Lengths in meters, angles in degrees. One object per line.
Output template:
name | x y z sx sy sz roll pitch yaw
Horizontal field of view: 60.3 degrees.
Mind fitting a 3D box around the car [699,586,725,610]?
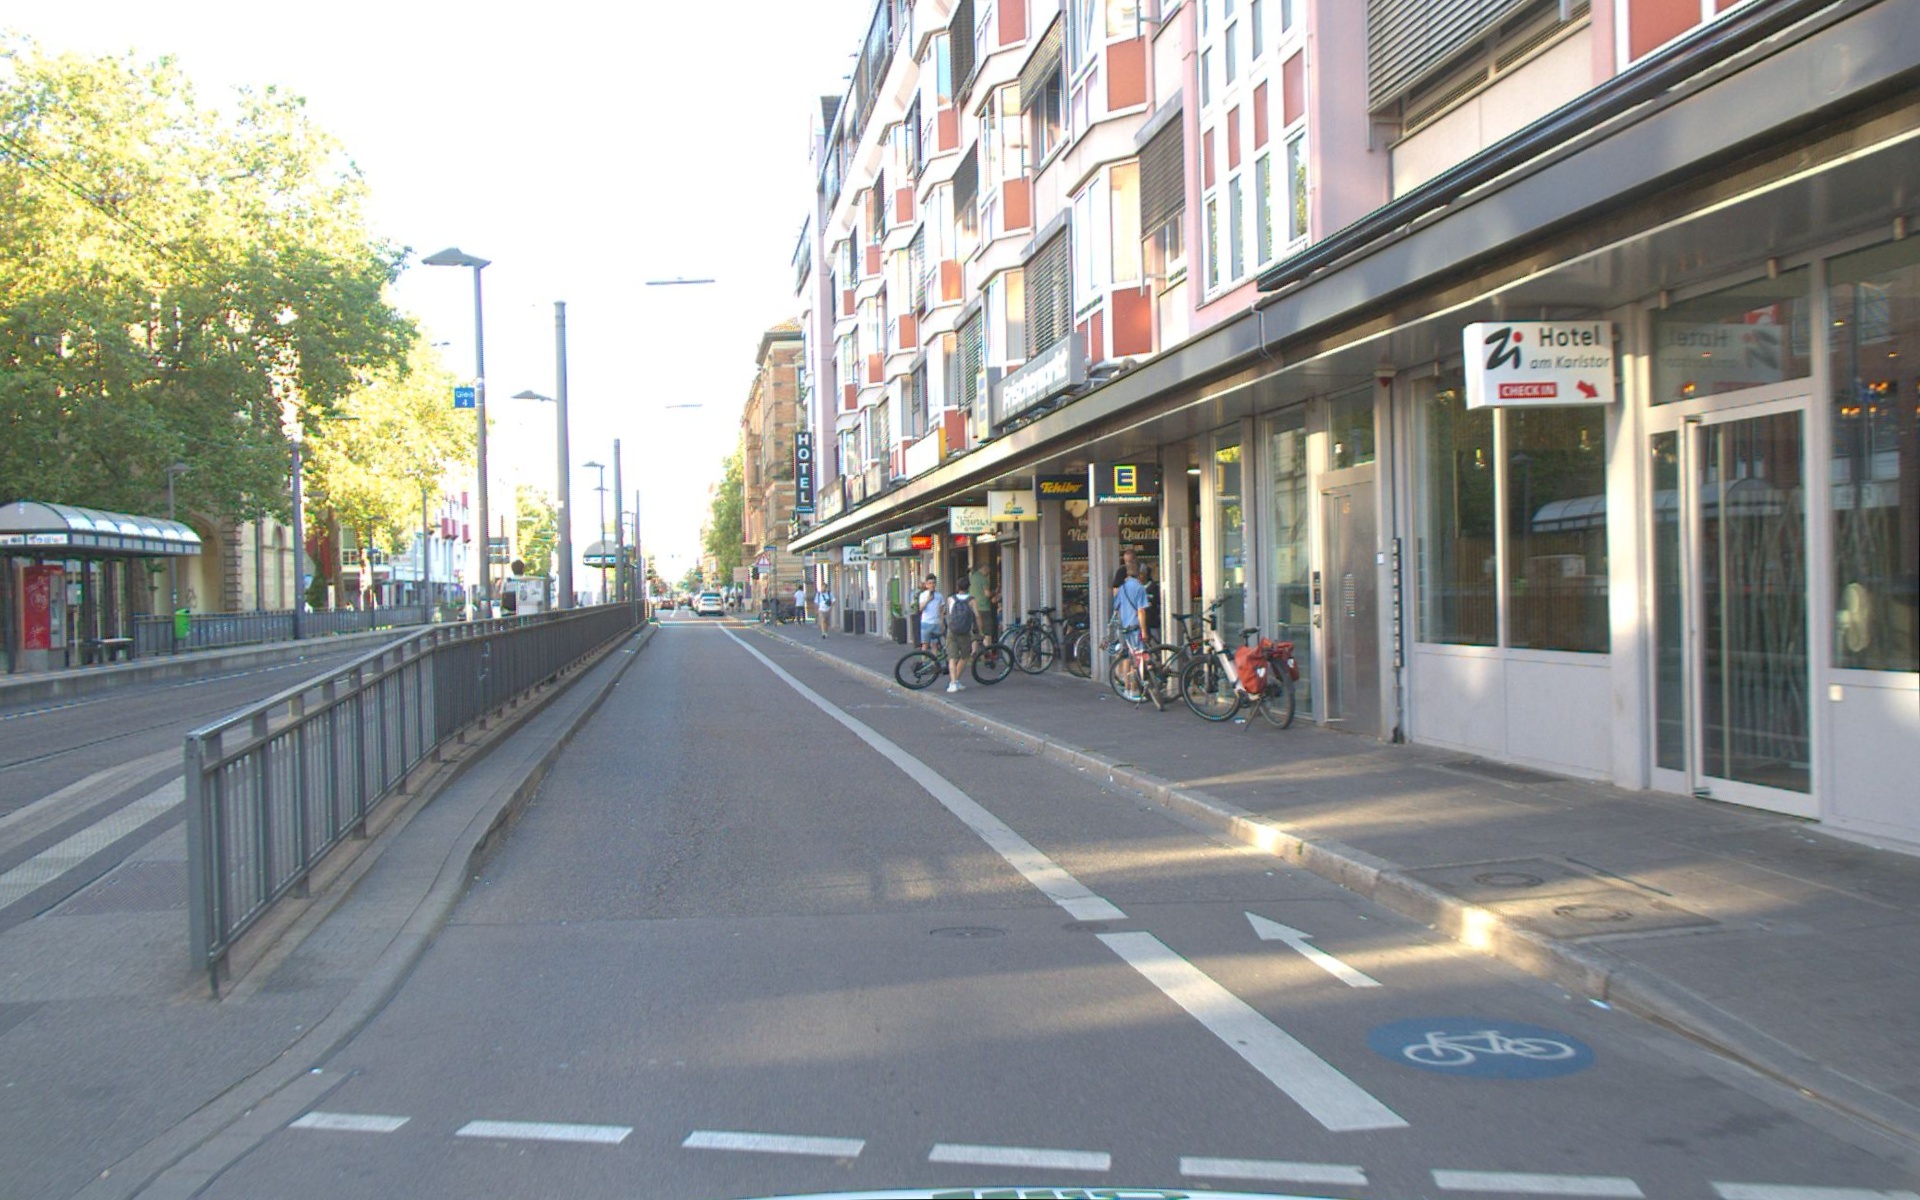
car | -19.160 -0.153 127.633 1.930 1.802 4.865 0 0 -9

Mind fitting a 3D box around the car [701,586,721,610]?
car | -22.590 -0.155 150.252 1.673 2.157 3.700 -1 -1 -7

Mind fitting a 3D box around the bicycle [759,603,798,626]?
bicycle | -8.777 0.693 79.929 1.802 1.072 0.715 -1 0 -13

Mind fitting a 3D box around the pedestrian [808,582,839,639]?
pedestrian | -4.359 0.325 52.684 0.783 1.752 1.059 -4 0 -9

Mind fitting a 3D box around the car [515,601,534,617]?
car | -47.705 0.975 181.206 1.837 1.628 4.241 -1 0 -12

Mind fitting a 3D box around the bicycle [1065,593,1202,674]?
bicycle | 2.571 0.484 24.502 1.891 1.078 0.574 -3 0 -13

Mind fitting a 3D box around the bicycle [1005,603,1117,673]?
bicycle | 1.624 0.613 26.790 1.697 0.990 0.505 -4 0 -5

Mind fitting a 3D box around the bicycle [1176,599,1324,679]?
bicycle | 3.951 0.519 22.554 1.891 0.954 0.574 -3 1 -13

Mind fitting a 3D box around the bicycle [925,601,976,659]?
bicycle | -0.211 0.603 33.967 0.646 1.085 1.790 -6 1 -10

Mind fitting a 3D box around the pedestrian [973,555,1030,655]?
pedestrian | 0.810 0.096 32.372 0.769 1.899 0.680 -3 0 -30

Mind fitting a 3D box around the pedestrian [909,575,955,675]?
pedestrian | -0.493 0.430 28.873 0.621 1.702 0.769 -3 0 -10

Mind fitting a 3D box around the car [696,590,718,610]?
car | -23.799 0.024 155.489 1.914 1.819 5.167 0 0 -11

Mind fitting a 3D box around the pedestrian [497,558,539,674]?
pedestrian | -7.078 0.254 26.512 0.572 1.823 0.604 -1 0 -12

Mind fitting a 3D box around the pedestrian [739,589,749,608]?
pedestrian | -19.554 -0.143 149.891 0.761 1.594 0.912 -5 1 -9

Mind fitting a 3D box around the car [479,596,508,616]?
car | -41.614 0.574 147.731 2.053 1.743 4.806 0 -1 -11

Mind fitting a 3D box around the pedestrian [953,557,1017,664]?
pedestrian | 0.467 0.195 31.162 0.899 1.898 0.777 -5 0 -13

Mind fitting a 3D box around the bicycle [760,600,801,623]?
bicycle | -8.522 0.549 78.570 1.880 1.066 0.679 -1 0 -13

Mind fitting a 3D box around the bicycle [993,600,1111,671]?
bicycle | 1.559 0.595 28.158 1.889 1.078 0.575 -3 0 -11

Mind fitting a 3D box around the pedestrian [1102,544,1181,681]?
pedestrian | 2.510 0.163 22.863 0.793 1.848 0.728 -1 0 43

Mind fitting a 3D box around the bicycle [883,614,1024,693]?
bicycle | -0.106 0.793 24.832 1.984 0.990 0.658 -4 1 -8

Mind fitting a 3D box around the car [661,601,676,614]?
car | -40.388 1.020 229.136 2.004 1.703 4.864 0 1 -10

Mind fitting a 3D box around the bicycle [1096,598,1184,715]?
bicycle | 2.030 0.620 18.868 0.783 1.196 1.633 -5 0 2

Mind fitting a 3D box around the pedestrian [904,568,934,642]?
pedestrian | -0.968 0.118 39.015 0.533 1.702 0.466 -2 0 -19

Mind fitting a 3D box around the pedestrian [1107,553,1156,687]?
pedestrian | 2.129 0.241 20.488 0.398 1.622 0.461 -4 1 18

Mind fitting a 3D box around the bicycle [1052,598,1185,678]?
bicycle | 2.409 0.563 25.139 1.891 1.078 0.574 -3 0 -13

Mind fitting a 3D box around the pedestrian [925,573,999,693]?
pedestrian | 0.022 0.483 24.375 0.765 1.692 0.912 -3 0 -18

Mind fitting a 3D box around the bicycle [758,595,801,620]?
bicycle | -8.653 0.349 79.213 1.936 1.124 0.612 -2 0 -13

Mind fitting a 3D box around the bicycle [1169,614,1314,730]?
bicycle | 2.704 0.666 16.101 0.665 0.993 1.837 -6 1 -13

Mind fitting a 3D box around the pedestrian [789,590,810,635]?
pedestrian | -6.995 0.544 72.151 0.798 1.917 0.775 2 -1 -9
